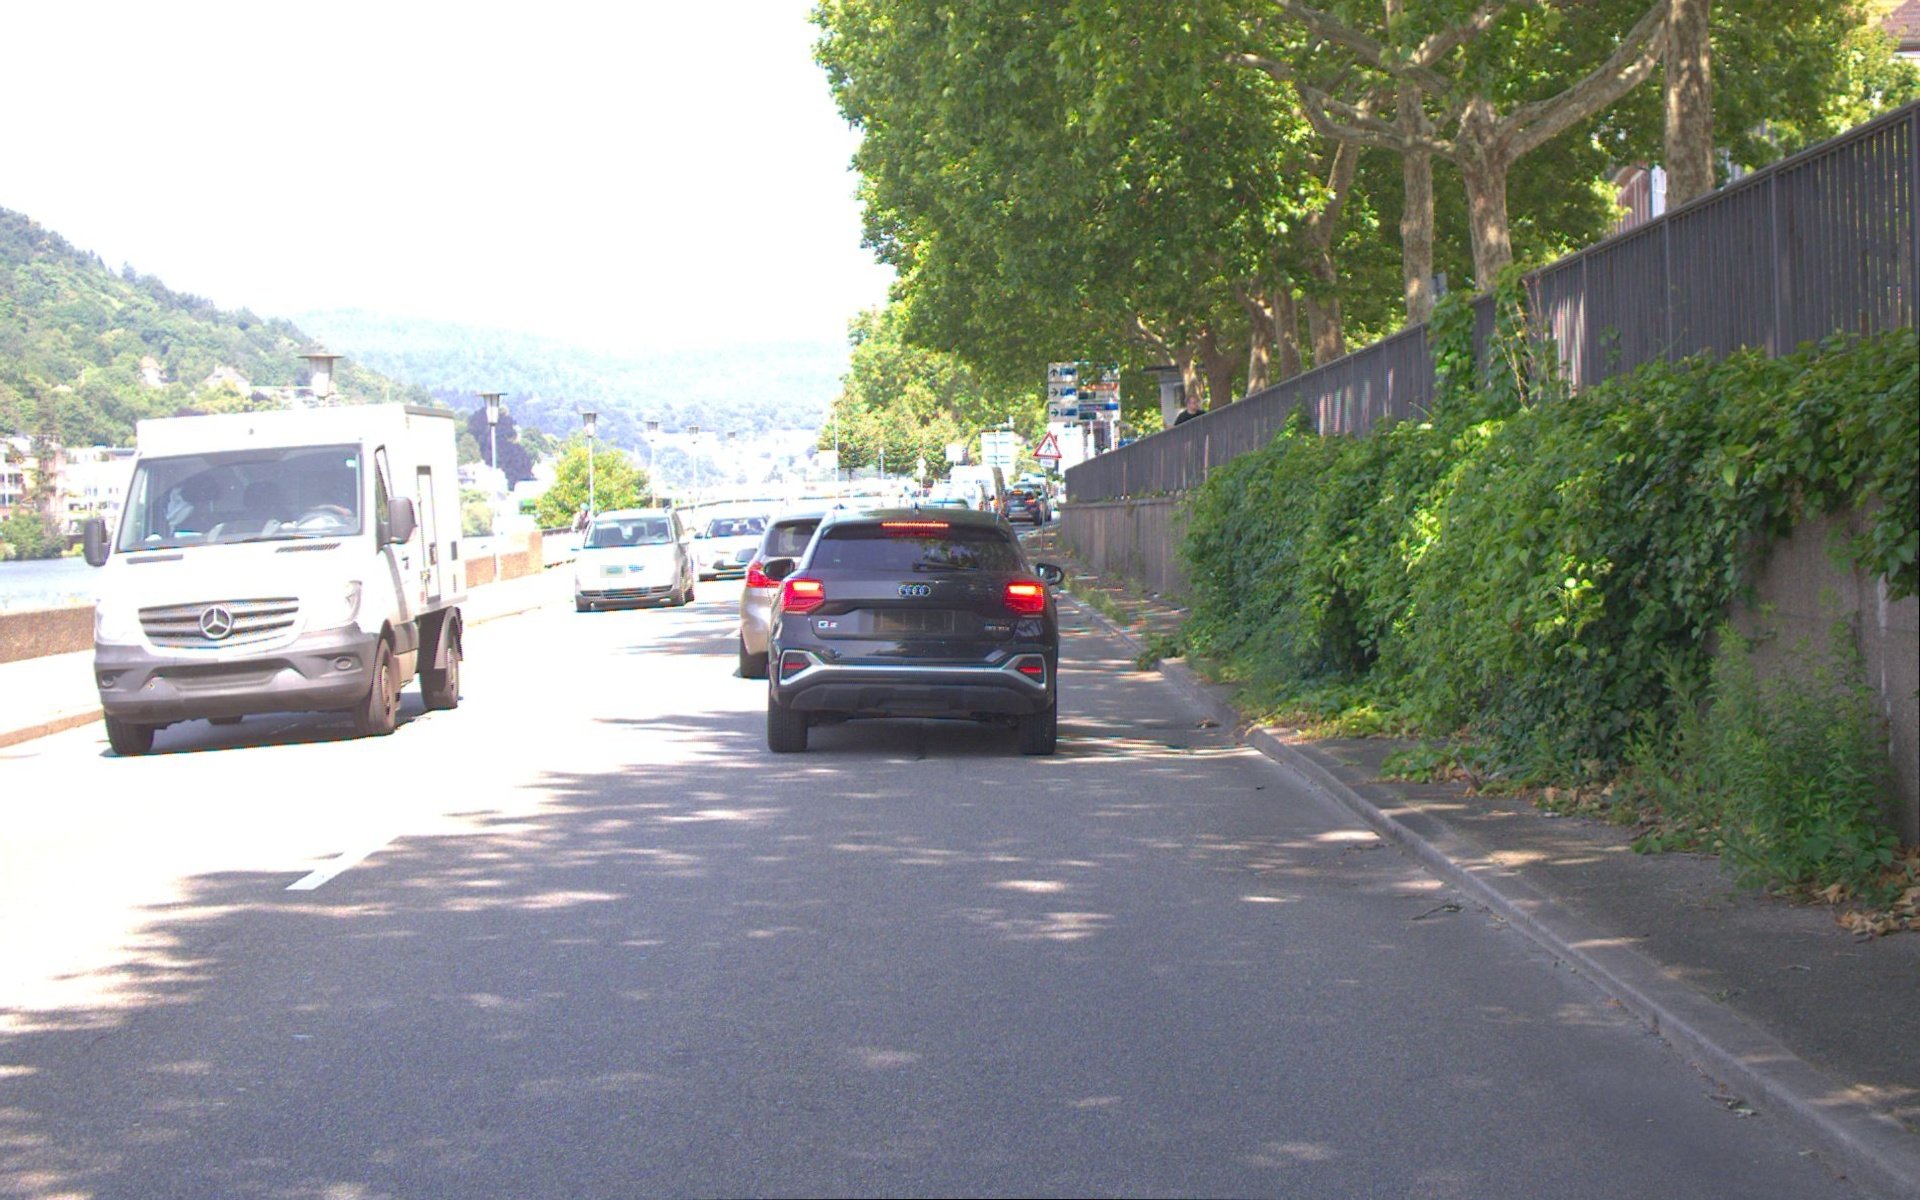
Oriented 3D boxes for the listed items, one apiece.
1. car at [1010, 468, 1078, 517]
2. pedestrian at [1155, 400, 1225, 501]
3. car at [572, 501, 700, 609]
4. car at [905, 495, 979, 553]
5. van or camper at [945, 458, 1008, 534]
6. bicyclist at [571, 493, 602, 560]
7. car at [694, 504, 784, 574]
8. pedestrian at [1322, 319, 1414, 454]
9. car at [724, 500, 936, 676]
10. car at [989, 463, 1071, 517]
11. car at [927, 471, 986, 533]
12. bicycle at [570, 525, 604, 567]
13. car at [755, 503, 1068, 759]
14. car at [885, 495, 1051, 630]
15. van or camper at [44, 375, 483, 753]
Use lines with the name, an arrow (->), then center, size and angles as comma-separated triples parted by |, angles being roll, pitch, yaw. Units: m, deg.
car -> 3.782, -4.870, 155.973 | 2.661, 2.006, 5.825 | -4, 2, -1
pedestrian -> 3.784, -2.459, 56.709 | 0.936, 1.574, 1.028 | -4, 2, -2
car -> -5.343, -0.783, 57.105 | 1.731, 1.644, 4.178 | -3, 2, -1
car -> -0.479, -1.956, 87.821 | 1.828, 1.439, 4.001 | -1, 2, -1
van or camper -> 0.674, -4.045, 134.300 | 2.310, 2.837, 4.246 | -2, 2, 1
bicyclist -> -9.536, -1.882, 87.799 | 0.637, 1.668, 0.871 | -2, 2, -1
car -> -4.902, -1.377, 76.697 | 1.731, 1.437, 4.046 | -3, 2, -1
pedestrian -> 4.341, -2.263, 36.630 | 0.753, 1.361, 0.814 | -4, 2, -2
car -> -1.166, -0.163, 31.862 | 1.828, 1.506, 4.001 | -1, 2, -1
car -> 2.932, -4.667, 145.523 | 3.098, 2.006, 5.825 | -4, 2, -1
car -> -0.151, -3.512, 122.880 | 1.993, 2.162, 4.001 | -1, 2, -1
bicycle -> -9.520, -1.388, 87.749 | 0.632, 1.008, 1.986 | -2, 2, -1
car -> -0.323, 0.126, 22.285 | 1.828, 1.481, 4.001 | -1, 2, -1
car -> 0.047, -0.476, 40.140 | 1.828, 1.481, 4.001 | -1, 2, -1
van or camper -> -5.042, -0.318, 25.733 | 2.077, 2.390, 5.385 | -4, 2, 0
